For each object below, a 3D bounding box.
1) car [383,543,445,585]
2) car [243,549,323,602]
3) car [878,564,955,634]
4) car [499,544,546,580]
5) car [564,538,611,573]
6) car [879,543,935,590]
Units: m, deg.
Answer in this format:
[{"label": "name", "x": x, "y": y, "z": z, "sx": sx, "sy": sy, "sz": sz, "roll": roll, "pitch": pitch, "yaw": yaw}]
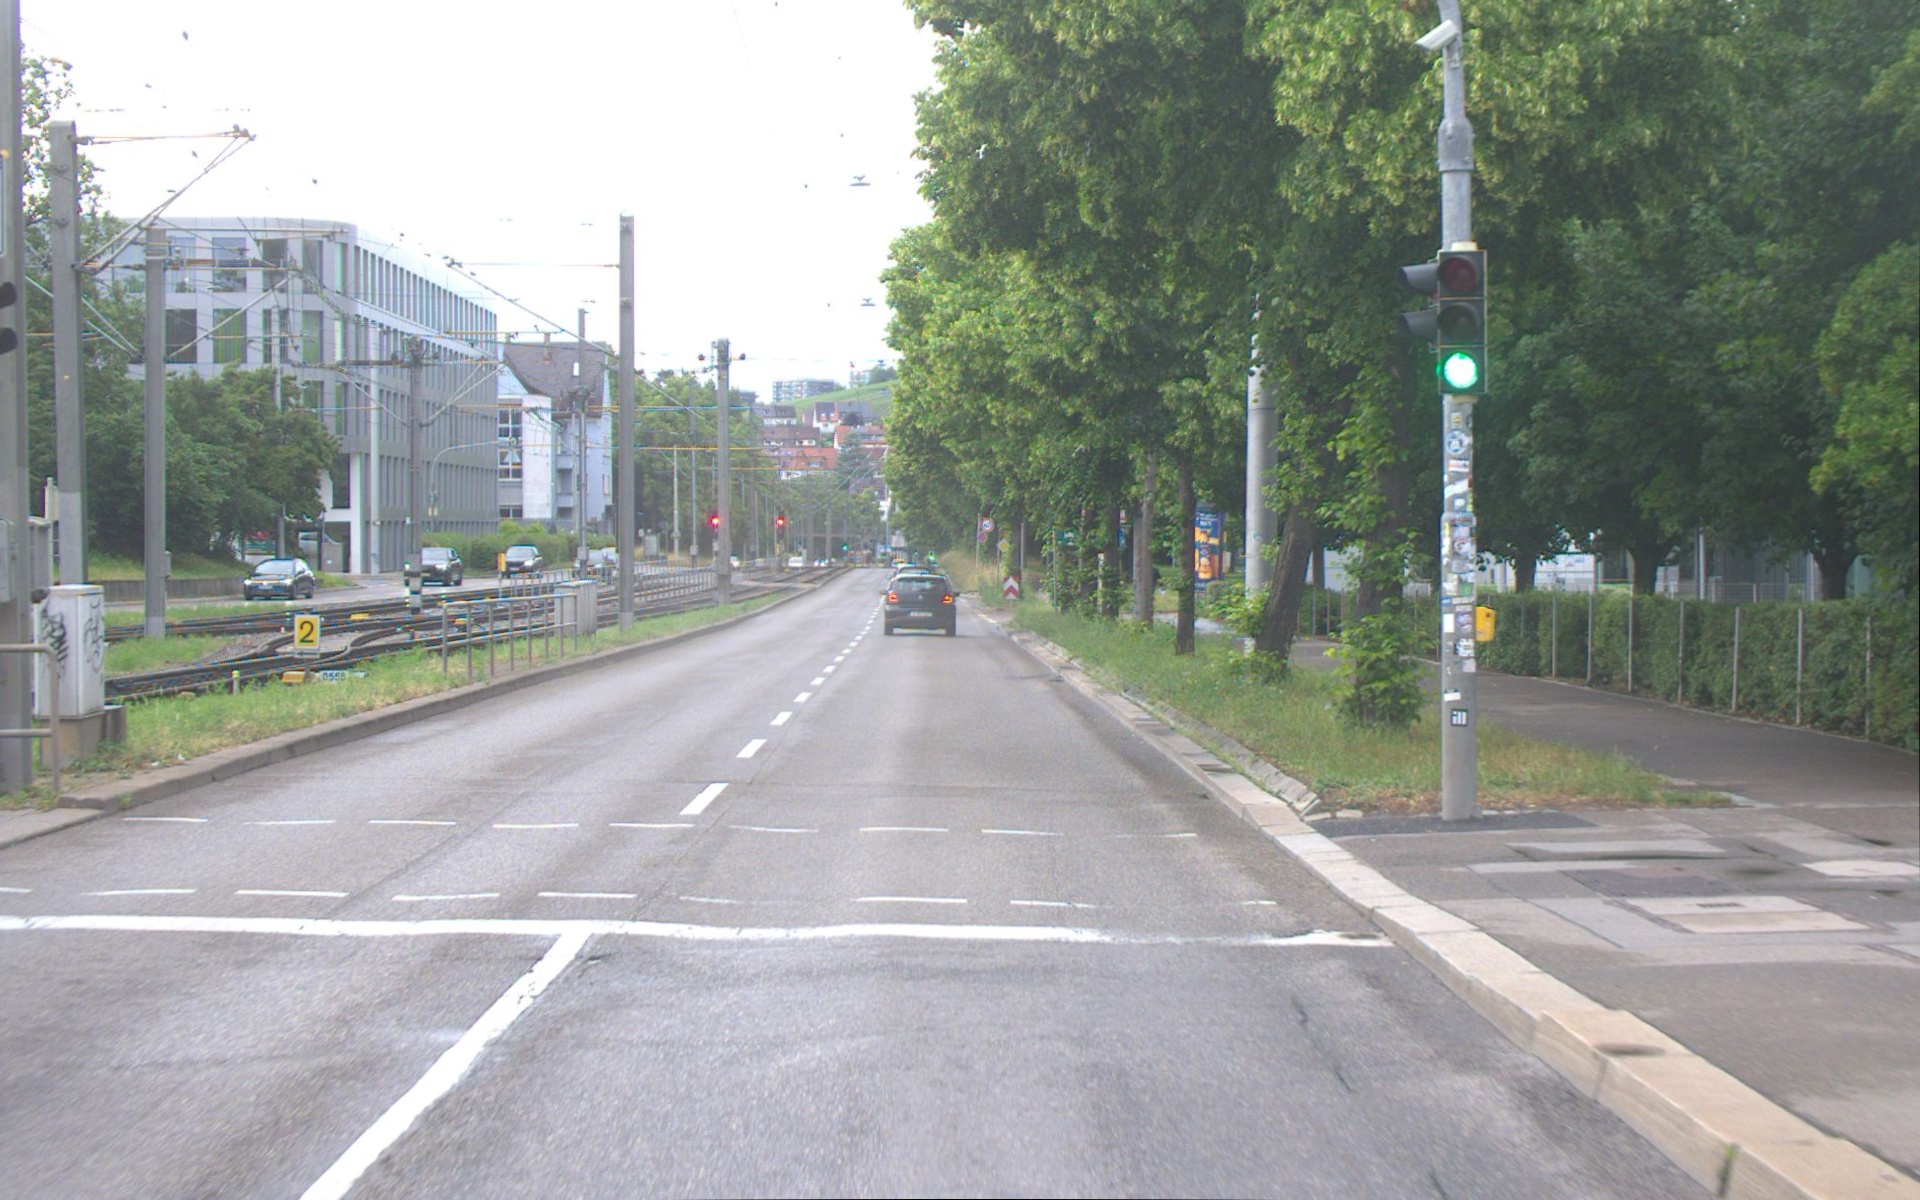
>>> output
[{"label": "car", "x": -23.927, "y": -1.590, "z": 150.707, "sx": 1.850, "sy": 1.626, "sz": 3.609, "roll": 3, "pitch": 3, "yaw": 4}, {"label": "car", "x": -23.952, "y": -0.871, "z": 121.784, "sx": 1.850, "sy": 1.626, "sz": 3.609, "roll": 3, "pitch": 3, "yaw": 4}, {"label": "car", "x": -1.021, "y": -0.049, "z": 80.126, "sx": 1.726, "sy": 1.535, "sz": 4.000, "roll": 1, "pitch": 1, "yaw": -1}, {"label": "car", "x": -22.578, "y": -1.970, "z": 177.566, "sx": 1.653, "sy": 1.626, "sz": 3.609, "roll": 3, "pitch": 3, "yaw": 4}, {"label": "car", "x": -19.796, "y": -2.372, "z": 182.810, "sx": 1.850, "sy": 1.626, "sz": 3.609, "roll": 3, "pitch": 3, "yaw": 4}, {"label": "car", "x": -1.693, "y": -1.073, "z": 109.288, "sx": 1.726, "sy": 1.420, "sz": 4.000, "roll": 1, "pitch": 1, "yaw": -1}]
